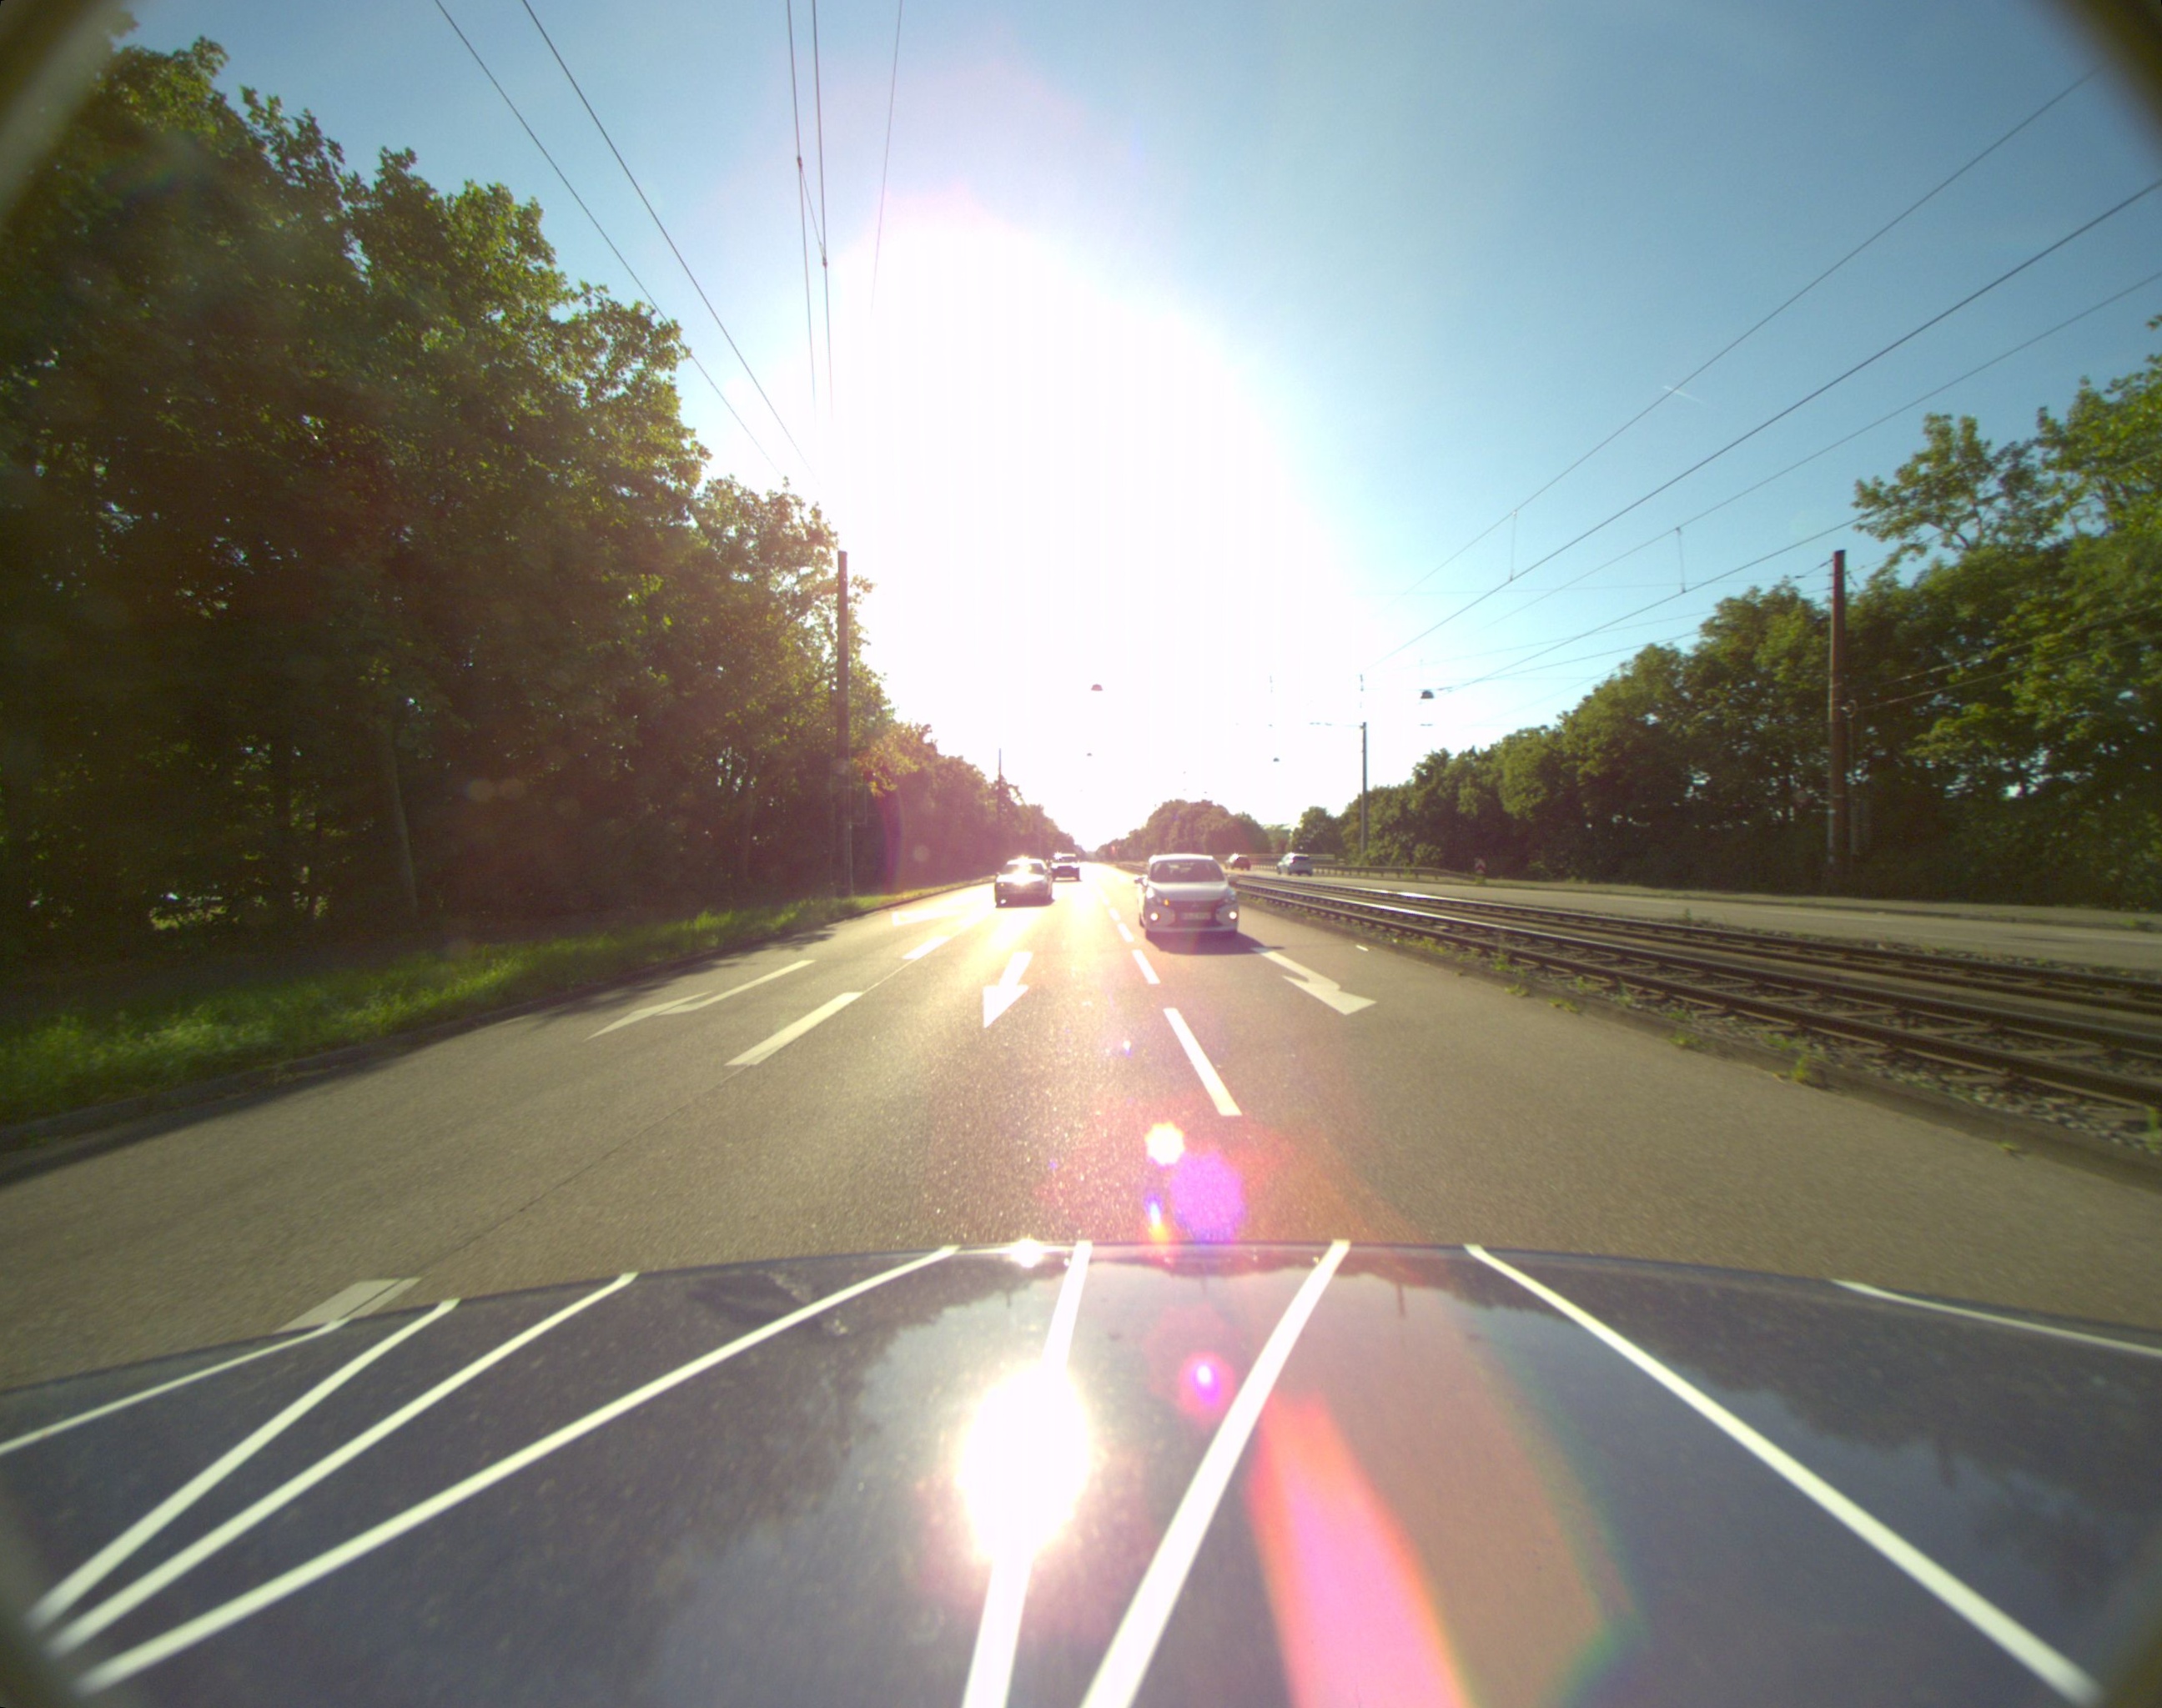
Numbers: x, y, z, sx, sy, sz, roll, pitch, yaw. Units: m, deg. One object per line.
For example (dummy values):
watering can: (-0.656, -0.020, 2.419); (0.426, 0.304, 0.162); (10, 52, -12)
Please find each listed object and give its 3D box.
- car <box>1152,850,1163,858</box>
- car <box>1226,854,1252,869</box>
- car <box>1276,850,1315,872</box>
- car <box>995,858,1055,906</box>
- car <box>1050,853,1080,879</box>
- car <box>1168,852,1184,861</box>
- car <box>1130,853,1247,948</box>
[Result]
car: (15.108, -0.052, 150.158); (1.713, 1.571, 4.800); (0, 1, -1)
car: (15.572, 0.727, 75.243); (1.661, 1.424, 4.501); (1, 1, 0)
car: (16.151, 0.525, 57.513); (1.696, 1.547, 4.190); (1, 1, -1)
car: (-1.850, 0.898, 26.186); (1.693, 1.409, 4.134); (-2, 1, 0)
car: (-0.978, 0.741, 48.155); (1.709, 1.512, 3.844); (-2, 1, 0)
car: (15.521, 0.390, 124.291); (1.759, 1.406, 4.876); (2, 1, -2)
car: (1.931, 0.782, 14.666); (1.709, 1.503, 3.862); (-2, 1, 0)
